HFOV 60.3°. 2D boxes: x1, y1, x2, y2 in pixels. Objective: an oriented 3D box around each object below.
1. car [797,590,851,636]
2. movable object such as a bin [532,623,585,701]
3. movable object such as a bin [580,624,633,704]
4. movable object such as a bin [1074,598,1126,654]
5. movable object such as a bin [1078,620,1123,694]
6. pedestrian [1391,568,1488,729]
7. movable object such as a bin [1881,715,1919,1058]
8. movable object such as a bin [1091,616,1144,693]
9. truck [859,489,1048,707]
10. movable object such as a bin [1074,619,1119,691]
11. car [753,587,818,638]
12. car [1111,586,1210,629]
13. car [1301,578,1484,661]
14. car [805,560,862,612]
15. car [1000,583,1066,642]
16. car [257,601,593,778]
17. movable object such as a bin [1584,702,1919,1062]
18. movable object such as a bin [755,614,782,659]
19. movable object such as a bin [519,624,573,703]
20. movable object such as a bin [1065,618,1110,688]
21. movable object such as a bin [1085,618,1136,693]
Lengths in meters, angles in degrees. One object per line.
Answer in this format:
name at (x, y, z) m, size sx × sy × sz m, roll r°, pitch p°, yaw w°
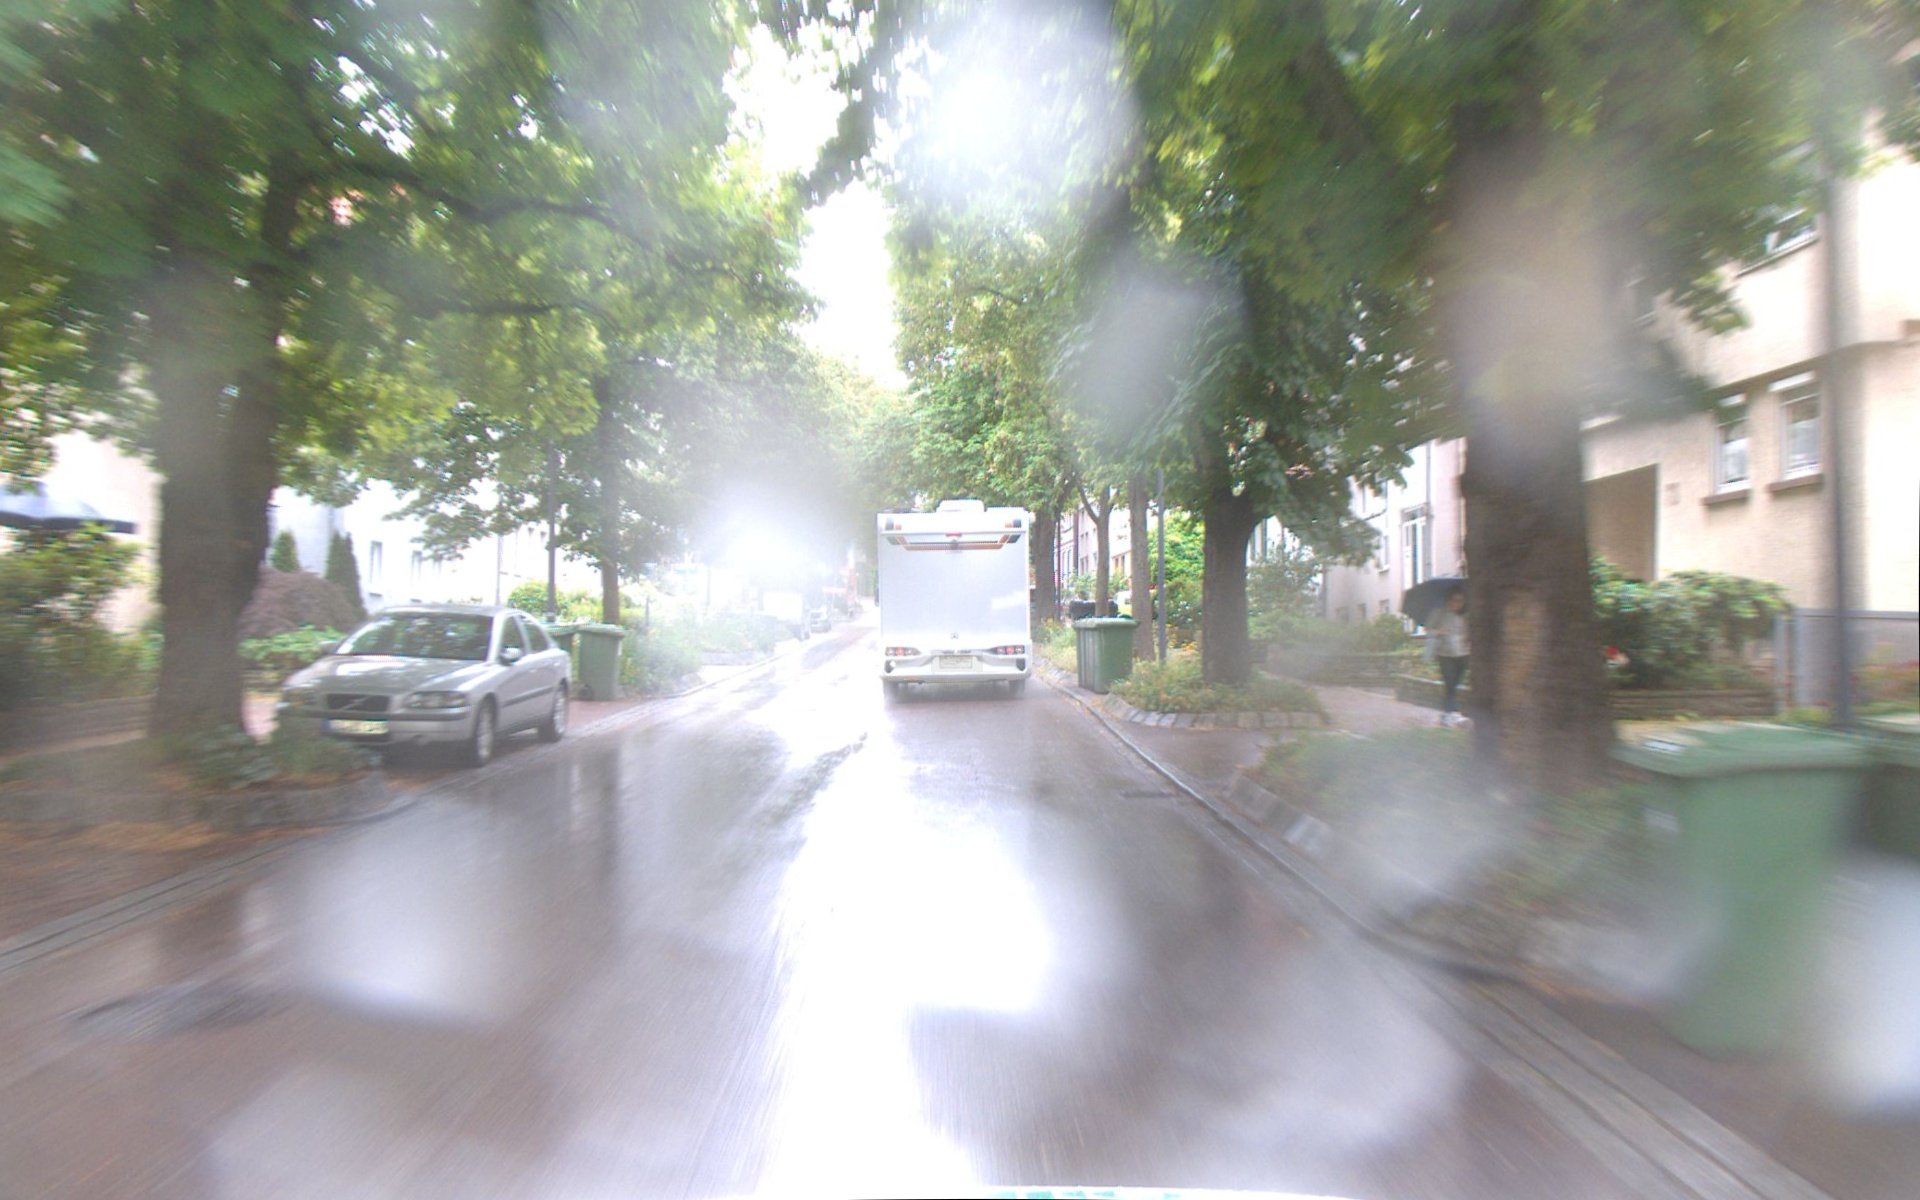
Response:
car at (-5.178, 0.471, 63.259) m, size 1.735 × 1.580 × 3.999 m, roll 2°, pitch 1°, yaw -1°
movable object such as a bin at (-5.788, 0.890, 23.881) m, size 0.582 × 1.081 × 0.545 m, roll 1°, pitch 0°, yaw 3°
movable object such as a bin at (-5.074, 0.913, 23.761) m, size 0.582 × 1.081 × 0.545 m, roll 3°, pitch 0°, yaw 3°
movable object such as a bin at (3.431, 0.621, 40.542) m, size 1.199 × 1.338 × 1.134 m, roll -1°, pitch 0°, yaw 1°
movable object such as a bin at (2.145, 0.862, 25.248) m, size 0.597 × 1.101 × 0.512 m, roll 1°, pitch 0°, yaw -5°
pedestrian at (5.159, 0.515, 17.832) m, size 0.934 × 1.681 × 0.794 m, roll -1°, pitch -1°, yaw 13°
movable object such as a bin at (3.477, 0.936, 5.142) m, size 0.733 × 1.094 × 0.878 m, roll 1°, pitch 0°, yaw -1°
movable object such as a bin at (2.280, 0.782, 24.020) m, size 0.674 × 1.101 × 0.540 m, roll 1°, pitch 0°, yaw -5°
truck at (-0.128, -0.017, 26.350) m, size 2.640 × 3.038 × 6.235 m, roll 1°, pitch 0°, yaw -1°
movable object such as a bin at (2.128, 0.858, 25.783) m, size 0.618 × 1.101 × 0.471 m, roll 1°, pitch 0°, yaw -5°
car at (-5.647, 0.365, 53.913) m, size 1.613 × 1.560 × 3.866 m, roll 1°, pitch 0°, yaw 1°
car at (7.243, 0.247, 60.024) m, size 3.298 × 1.455 × 1.629 m, roll -1°, pitch 0°, yaw -4°
car at (11.765, 0.531, 45.197) m, size 4.372 × 1.933 × 1.999 m, roll 4°, pitch -1°, yaw -2°
car at (-6.343, -0.728, 83.523) m, size 2.256 × 2.526 × 5.786 m, roll 1°, pitch 1°, yaw 2°
car at (2.318, 0.371, 53.825) m, size 1.875 × 1.823 × 4.487 m, roll 0°, pitch 0°, yaw -1°
car at (-5.012, 0.754, 16.202) m, size 1.736 × 1.413 × 4.545 m, roll 2°, pitch 0°, yaw 0°
movable object such as a bin at (2.724, 0.930, 5.729) m, size 0.781 × 1.094 × 0.878 m, roll 1°, pitch 0°, yaw -1°
movable object such as a bin at (-4.916, 0.930, 42.494) m, size 0.629 × 1.130 × 0.536 m, roll 0°, pitch 0°, yaw 1°
movable object such as a bin at (-5.825, 0.891, 23.268) m, size 0.582 × 1.081 × 0.545 m, roll 1°, pitch 0°, yaw 3°
movable object such as a bin at (2.030, 0.844, 26.370) m, size 0.631 × 1.101 × 0.540 m, roll 1°, pitch 0°, yaw -5°
movable object such as a bin at (2.232, 0.818, 24.613) m, size 0.674 × 1.101 × 0.540 m, roll 0°, pitch 0°, yaw -5°
